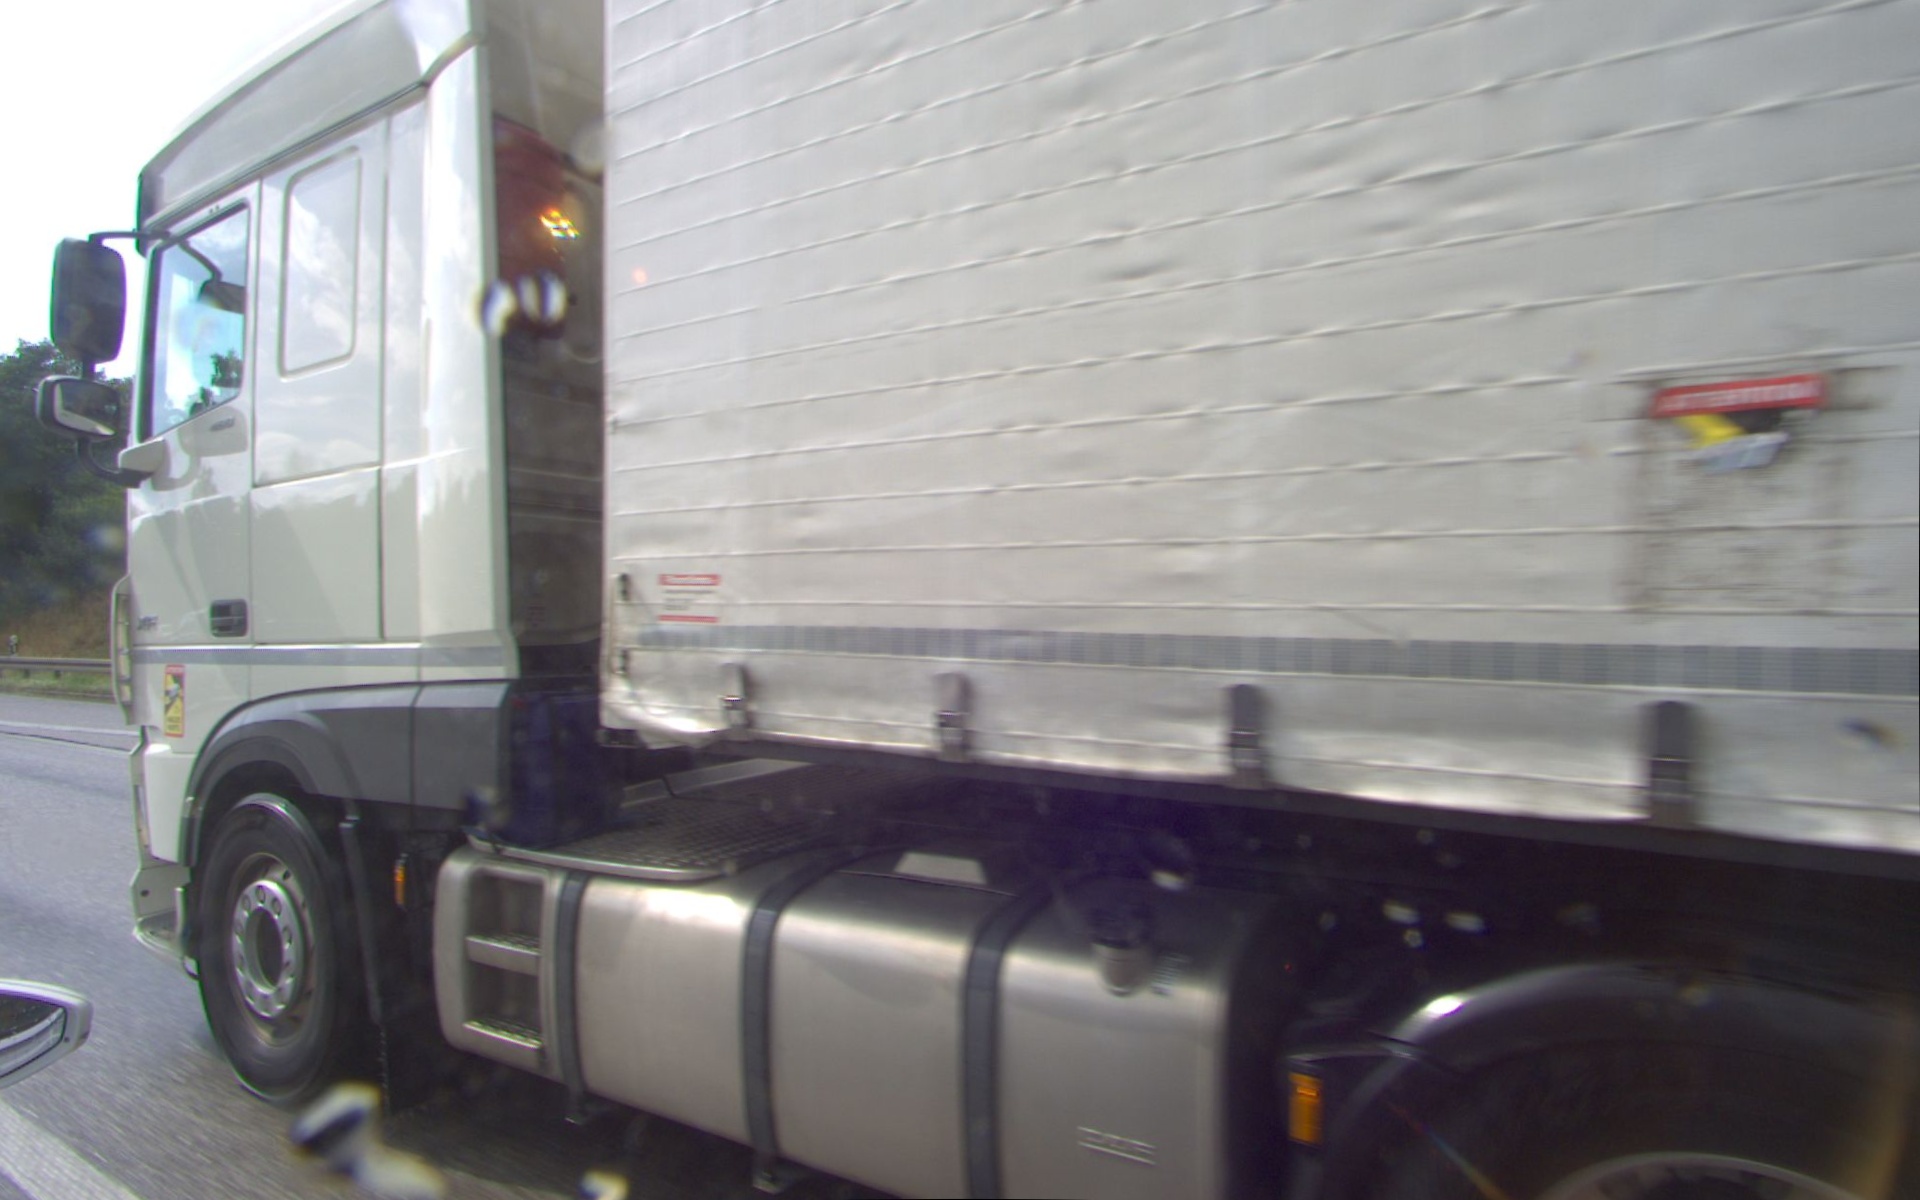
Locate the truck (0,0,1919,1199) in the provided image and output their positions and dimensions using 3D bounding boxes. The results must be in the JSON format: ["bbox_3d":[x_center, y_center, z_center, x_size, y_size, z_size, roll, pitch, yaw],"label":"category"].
[{"bbox_3d":[0.037,-0.429,3.436,6.302,3.940,3.280,-1,-2,31],"label":"truck"}]

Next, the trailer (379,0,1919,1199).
[{"bbox_3d":[5.470,-0.562,0.121,13.921,3.948,3.280,-1,-2,31],"label":"trailer"}]
